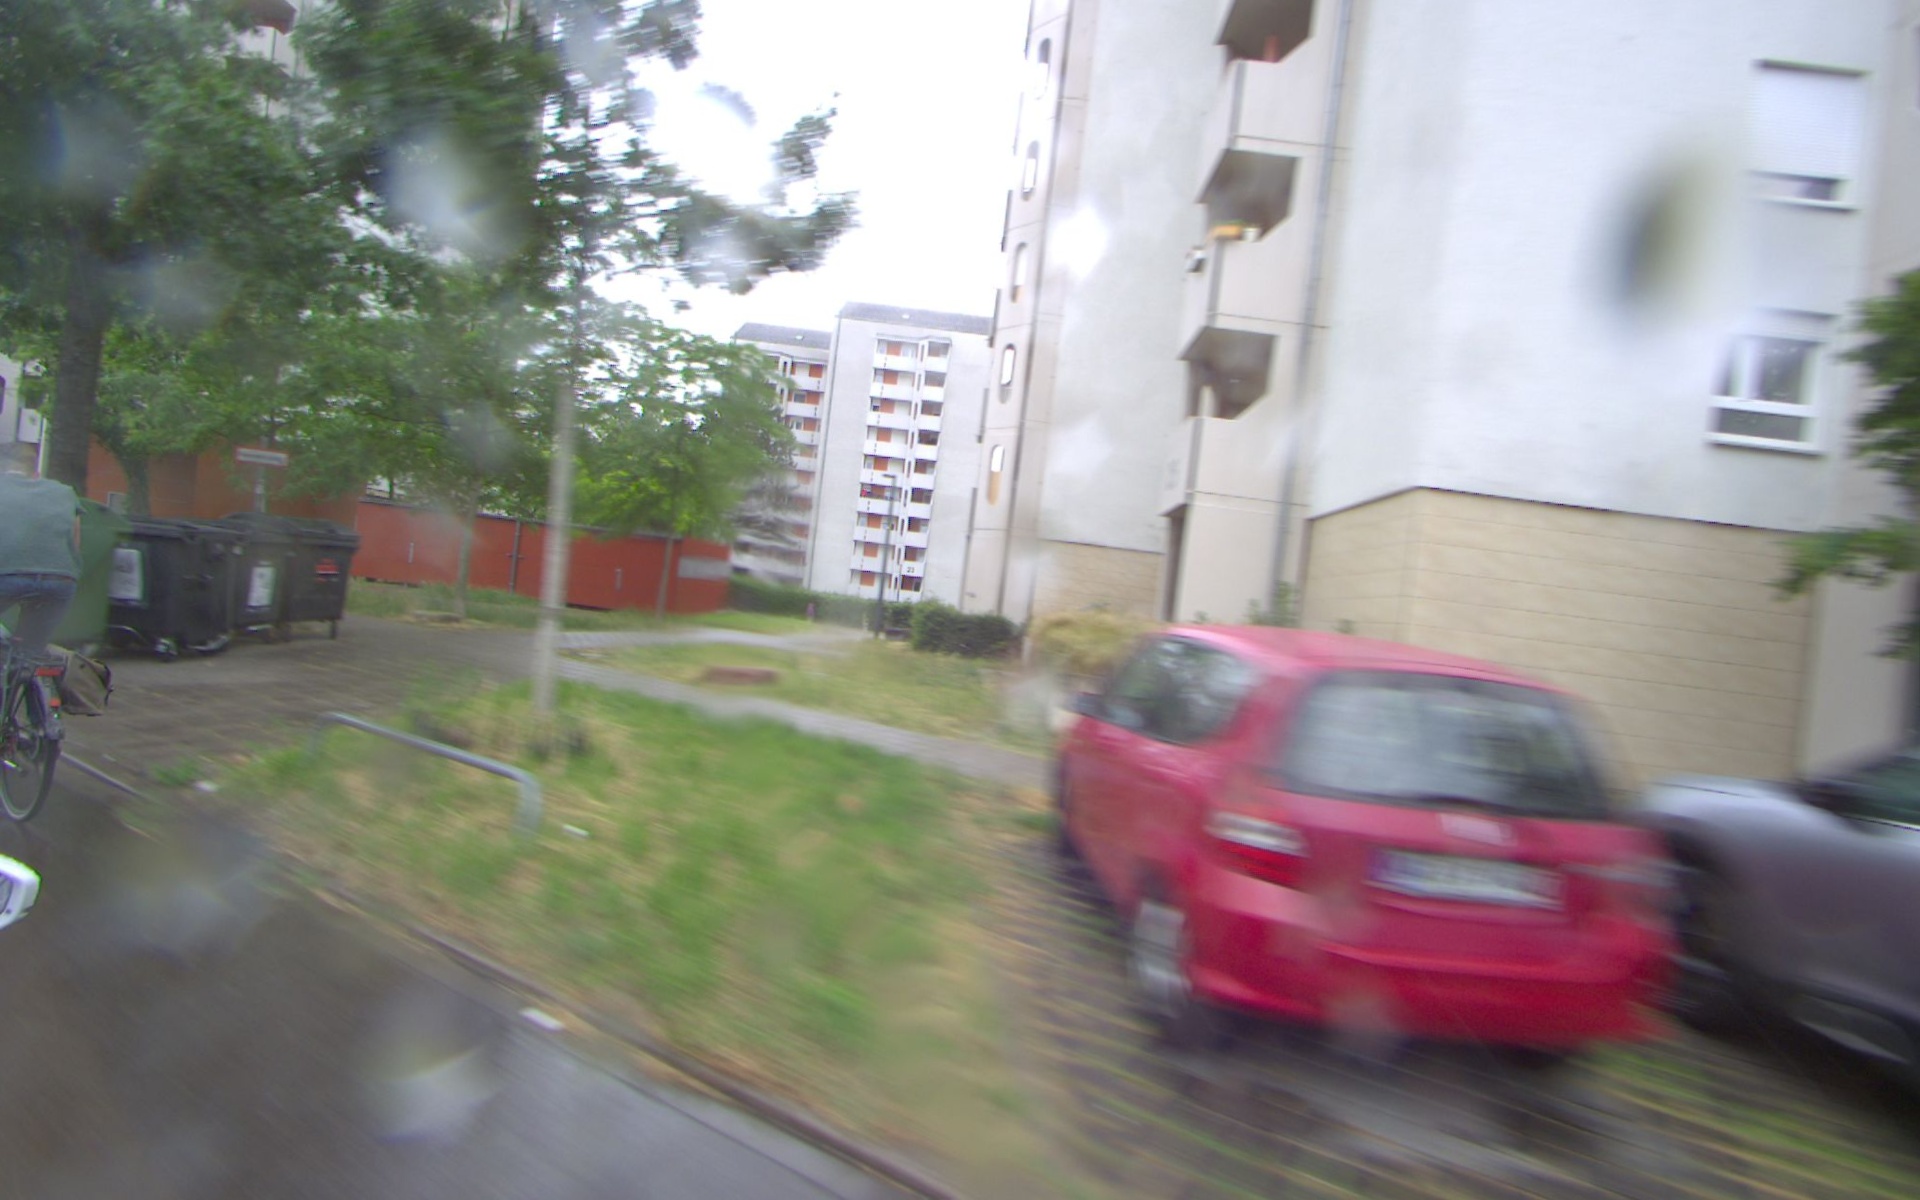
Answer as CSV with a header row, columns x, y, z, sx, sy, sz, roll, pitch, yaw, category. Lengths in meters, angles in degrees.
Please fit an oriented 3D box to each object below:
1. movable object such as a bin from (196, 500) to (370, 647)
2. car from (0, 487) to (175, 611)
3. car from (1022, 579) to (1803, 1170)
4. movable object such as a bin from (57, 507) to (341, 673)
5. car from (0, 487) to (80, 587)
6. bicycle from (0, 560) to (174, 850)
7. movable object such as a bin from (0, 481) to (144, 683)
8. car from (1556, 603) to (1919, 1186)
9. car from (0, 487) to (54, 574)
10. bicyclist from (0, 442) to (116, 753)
x,y,z,sx,sy,sz,roll,pitch,yaw,category
-7.990,-0.298,11.944,1.068,1.540,1.247,6,2,4,movable object such as a bin
-12.857,-0.742,13.162,1.843,1.538,4.225,7,0,-2,car
1.500,0.826,4.974,1.702,1.588,3.879,6,2,-5,car
-7.398,-0.107,9.906,1.374,1.344,1.686,7,3,11,movable object such as a bin
-15.619,-1.072,14.935,1.556,1.538,4.038,7,0,-2,car
-5.004,0.384,4.968,2.474,1.111,0.810,7,1,29,bicycle
-7.948,-0.205,8.405,1.374,1.479,1.126,7,6,11,movable object such as a bin
4.056,1.082,2.926,1.963,1.742,4.142,7,3,0,car
-17.946,-1.338,17.023,1.556,1.538,4.038,7,0,-2,car
-4.928,-0.059,4.934,1.042,1.451,0.810,7,1,29,bicyclist
